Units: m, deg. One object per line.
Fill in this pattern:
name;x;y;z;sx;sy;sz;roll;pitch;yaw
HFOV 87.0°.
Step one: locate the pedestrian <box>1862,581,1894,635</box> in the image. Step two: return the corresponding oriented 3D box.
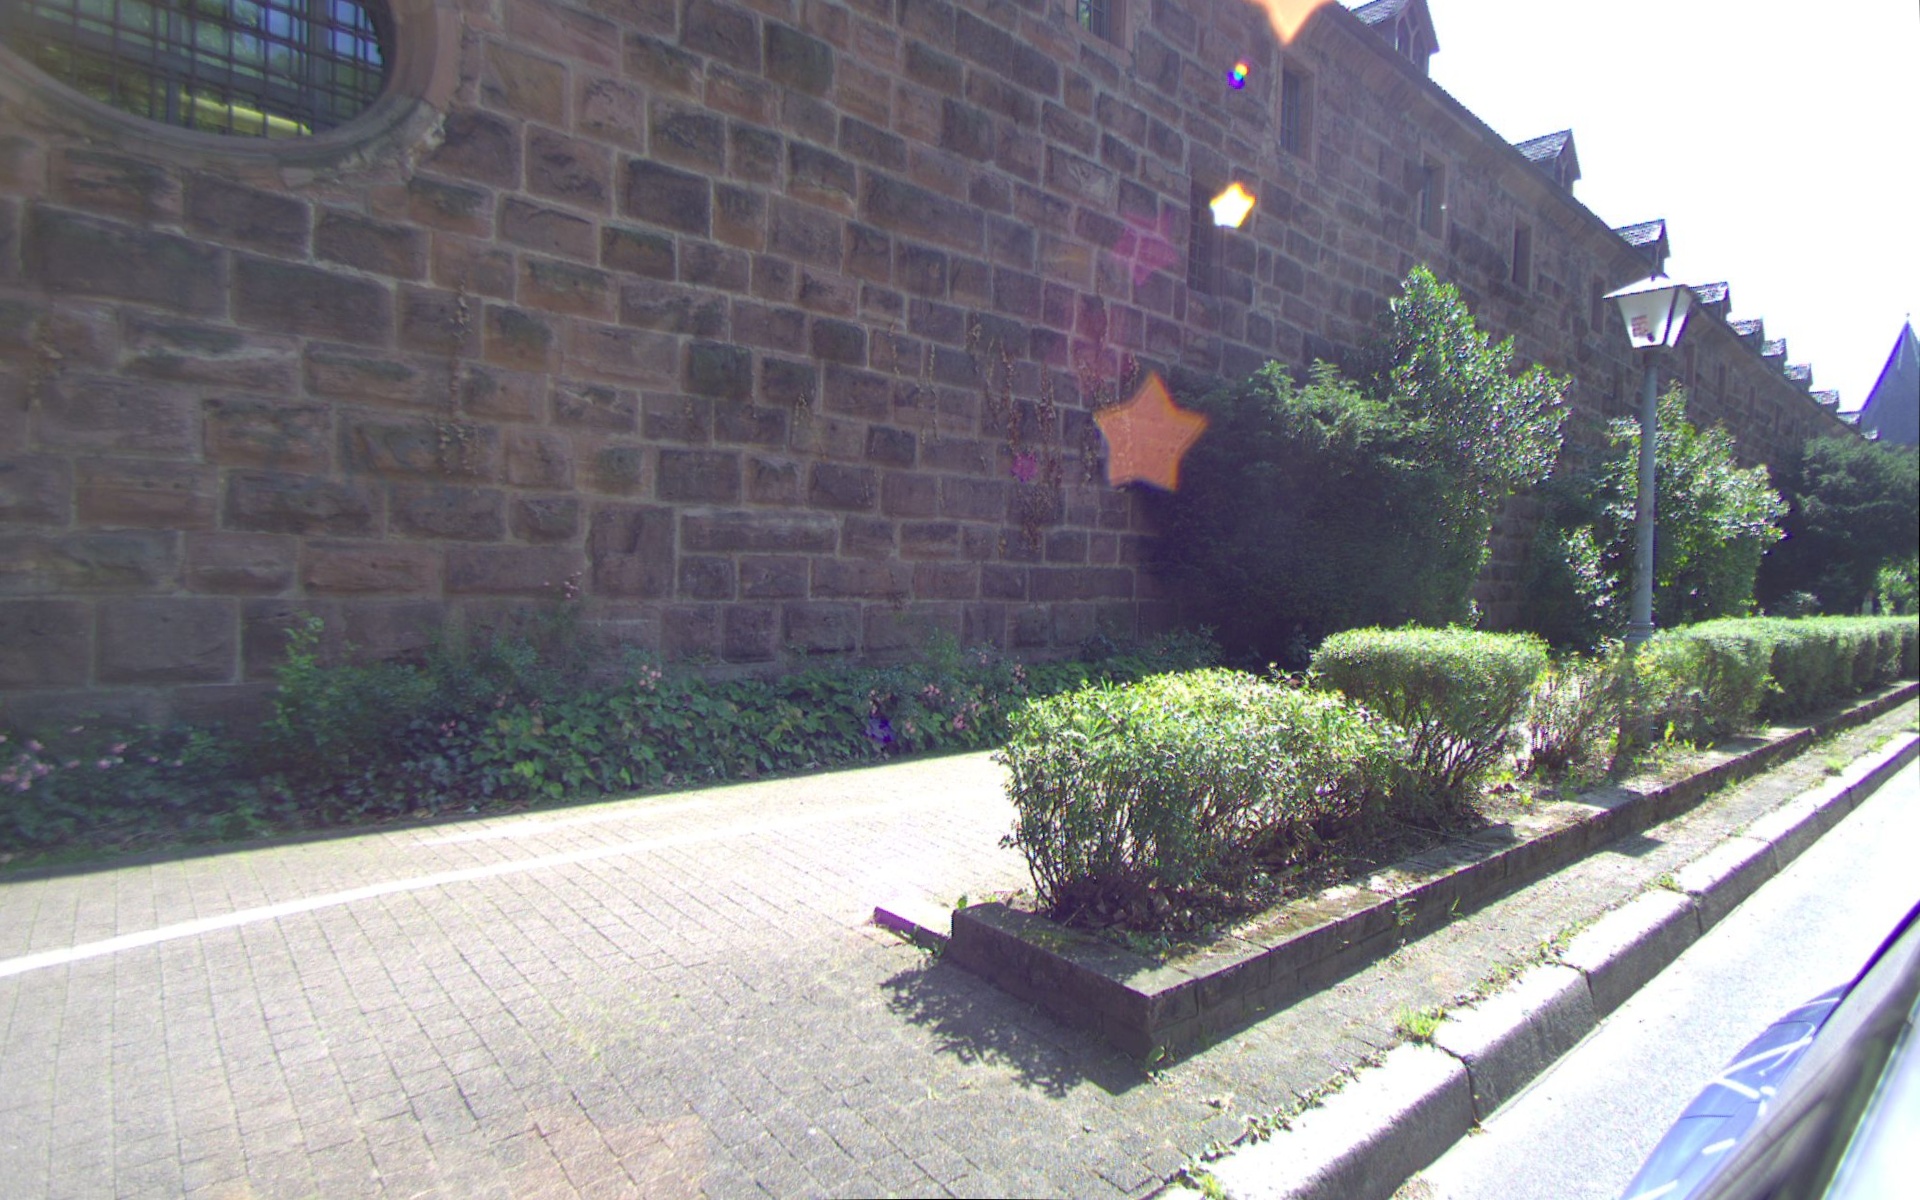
pedestrian;27.397;0.227;30.192;0.554;1.583;0.642;0;0;-41
